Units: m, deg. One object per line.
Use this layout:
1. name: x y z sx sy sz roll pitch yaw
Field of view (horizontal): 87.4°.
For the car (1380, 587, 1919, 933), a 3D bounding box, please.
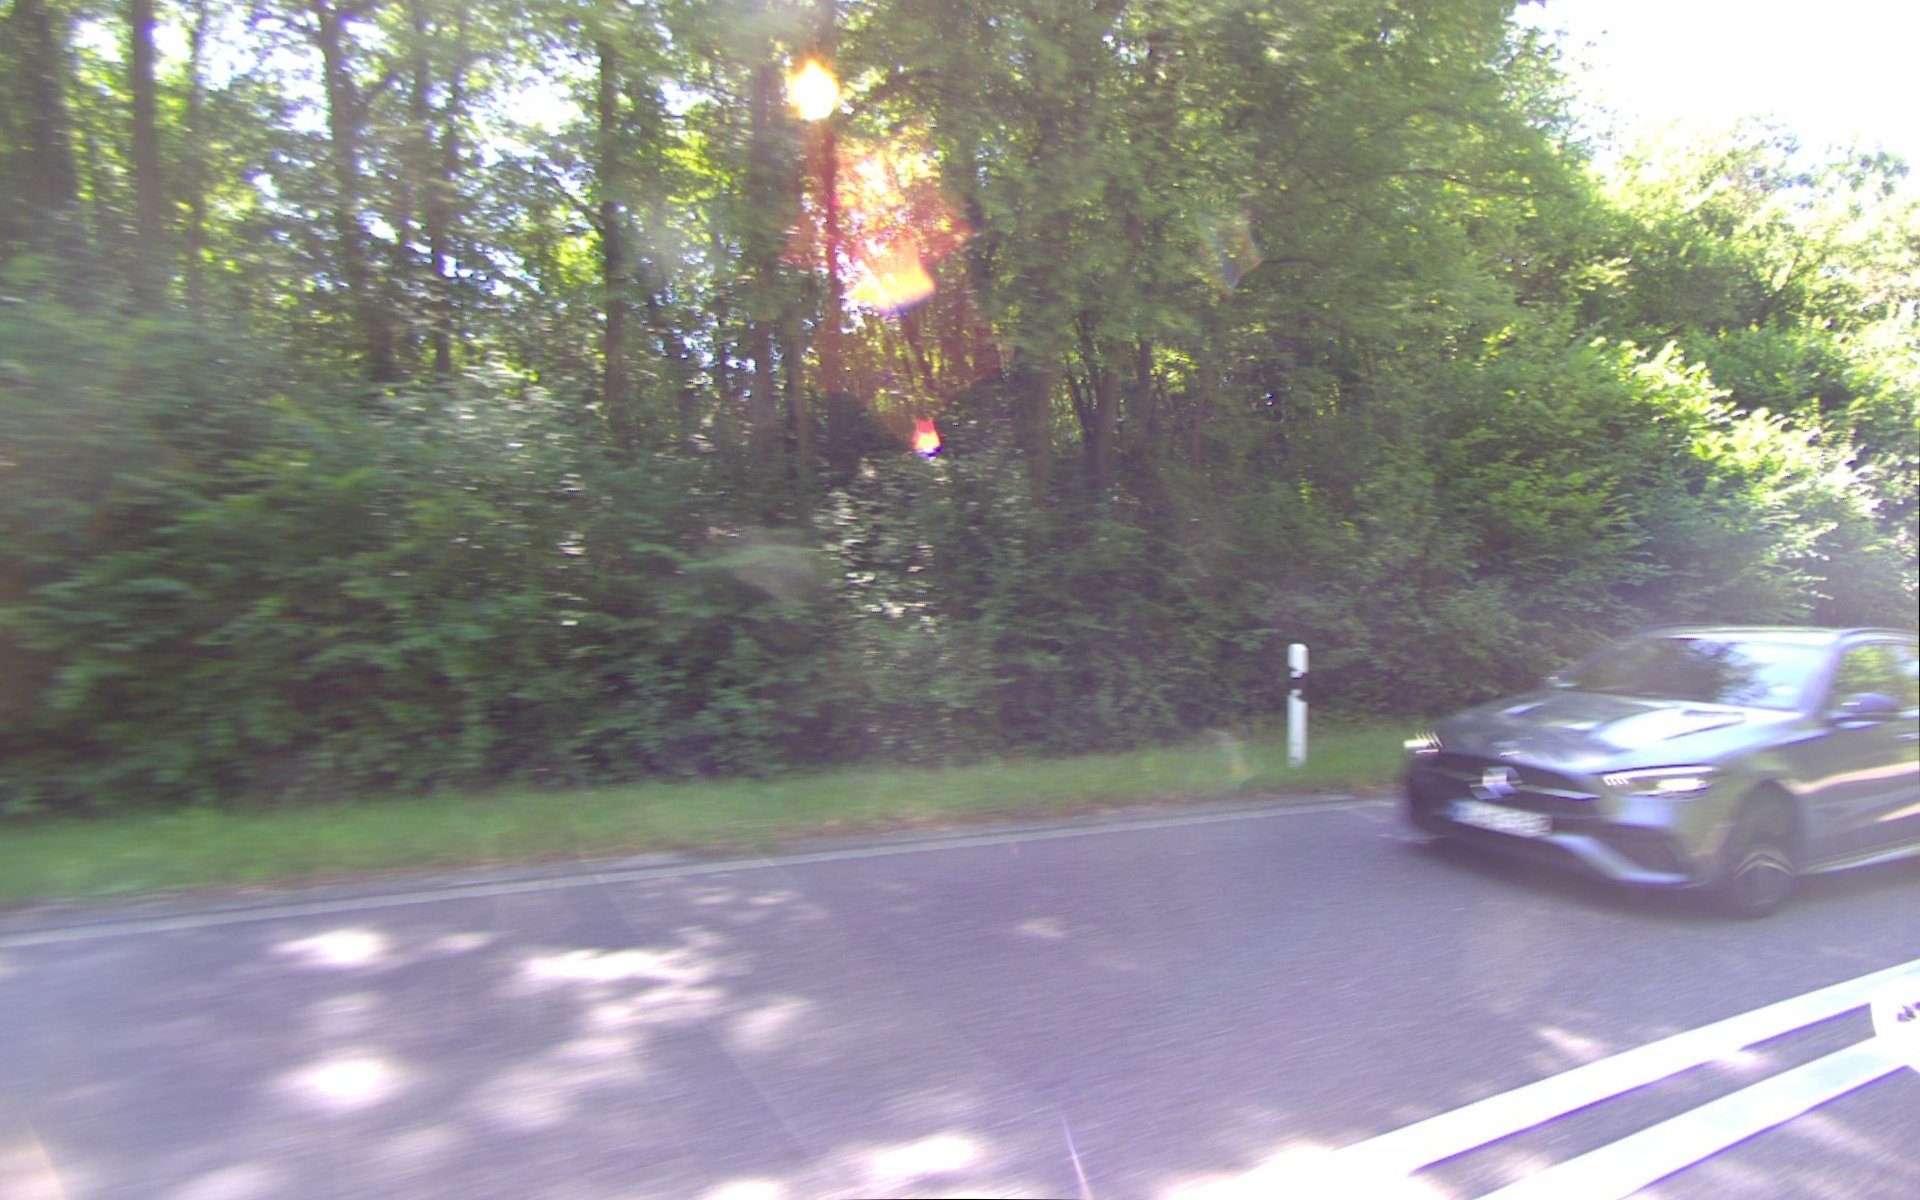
1. car: 4.919 0.805 6.379 4.310 1.595 1.750 2 -1 -26
